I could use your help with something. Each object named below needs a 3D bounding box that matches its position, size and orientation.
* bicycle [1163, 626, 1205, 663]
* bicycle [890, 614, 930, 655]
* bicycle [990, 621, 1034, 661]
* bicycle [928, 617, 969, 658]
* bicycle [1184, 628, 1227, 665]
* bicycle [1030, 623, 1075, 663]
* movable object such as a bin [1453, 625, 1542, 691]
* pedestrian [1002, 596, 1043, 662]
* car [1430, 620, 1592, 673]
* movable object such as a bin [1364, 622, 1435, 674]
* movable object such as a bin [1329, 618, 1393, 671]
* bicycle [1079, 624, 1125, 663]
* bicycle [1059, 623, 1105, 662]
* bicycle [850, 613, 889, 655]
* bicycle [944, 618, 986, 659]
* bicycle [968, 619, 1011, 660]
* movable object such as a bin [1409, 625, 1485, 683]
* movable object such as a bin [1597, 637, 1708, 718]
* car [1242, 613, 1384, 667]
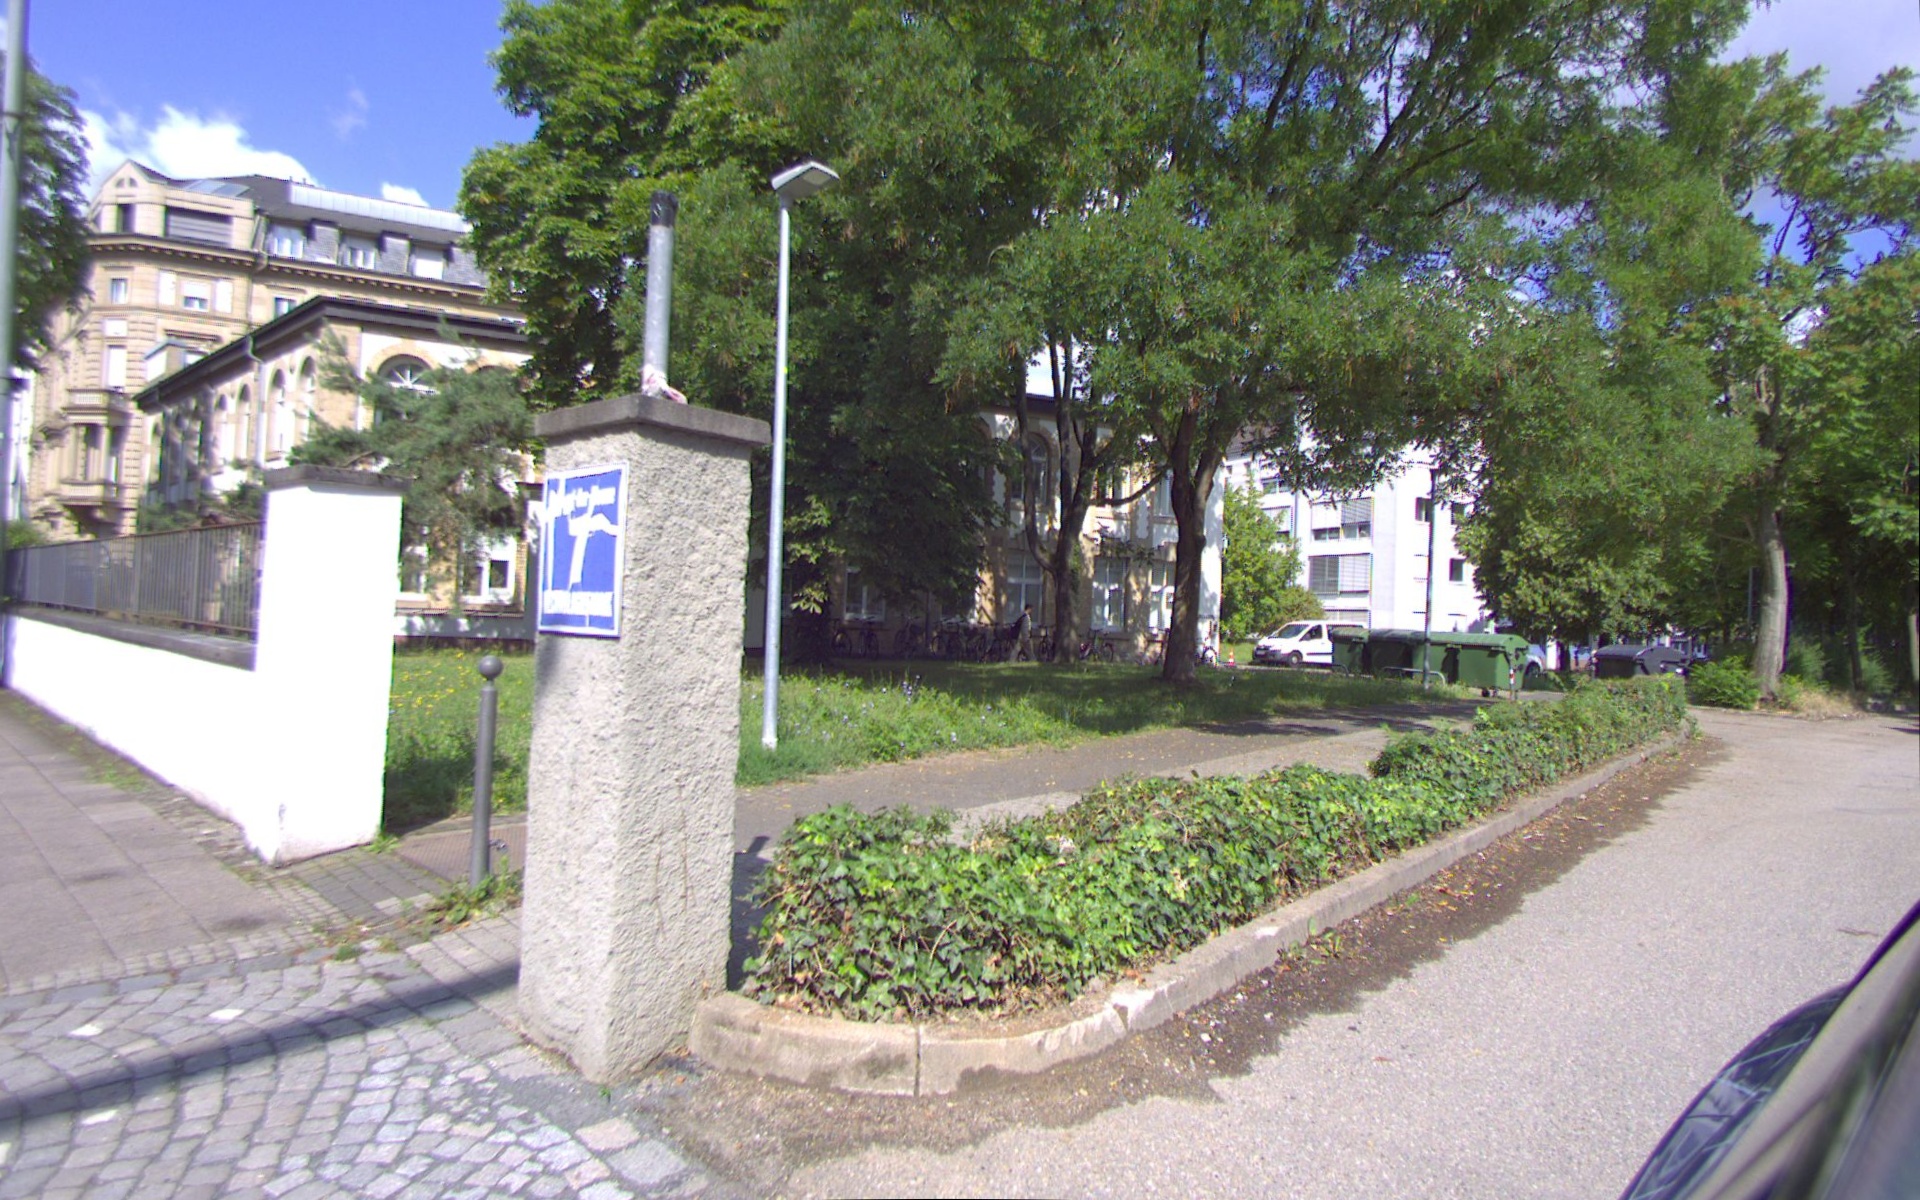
[{"bbox_3d":[6.672,1.308,30.203,0.418,1.000,1.461,4,-1,-21],"label":"bicycle"},{"bbox_3d":[-1.357,0.909,27.026,0.418,1.000,1.824,4,-1,-22],"label":"bicycle"},{"bbox_3d":[1.443,1.116,28.225,0.418,1.000,1.824,4,-1,-22],"label":"bicycle"},{"bbox_3d":[-0.323,0.998,27.323,0.418,1.000,1.824,4,-1,-22],"label":"bicycle"},{"bbox_3d":[7.363,1.385,30.438,0.418,1.000,1.461,4,-1,-22],"label":"bicycle"},{"bbox_3d":[2.587,1.192,28.583,0.418,1.000,1.824,4,-1,-22],"label":"bicycle"},{"bbox_3d":[12.128,1.294,22.867,1.071,1.369,1.369,2,0,-24],"label":"movable object such as a bin"},{"bbox_3d":[1.600,0.739,25.984,0.840,1.644,0.571,3,-1,-25],"label":"pedestrian"},{"bbox_3d":[17.745,1.498,32.572,4.985,1.516,1.813,3,-1,-23],"label":"car"},{"bbox_3d":[11.066,1.197,25.506,1.007,1.236,1.276,2,0,-24],"label":"movable object such as a bin"},{"bbox_3d":[10.613,1.176,26.814,0.982,1.309,1.193,2,0,-24],"label":"movable object such as a bin"},{"bbox_3d":[4.096,1.253,29.307,0.418,1.000,1.824,4,-1,-22],"label":"bicycle"},{"bbox_3d":[3.469,1.205,28.975,0.418,1.000,1.824,4,-1,-22],"label":"bicycle"},{"bbox_3d":[-2.399,0.881,26.647,0.418,1.000,1.824,4,-1,-22],"label":"bicycle"},{"bbox_3d":[0.130,1.037,27.602,0.418,1.000,1.824,4,-1,-22],"label":"bicycle"},{"bbox_3d":[0.808,1.079,27.872,0.418,1.000,1.824,4,-1,-22],"label":"bicycle"},{"bbox_3d":[11.595,1.280,24.117,0.979,1.281,1.258,2,0,-24],"label":"movable object such as a bin"},{"bbox_3d":[13.056,1.441,19.134,1.108,1.374,1.324,2,0,-3],"label":"movable object such as a bin"},{"bbox_3d":[13.935,1.573,39.964,4.985,1.886,2.043,3,-1,-17],"label":"car"}]
